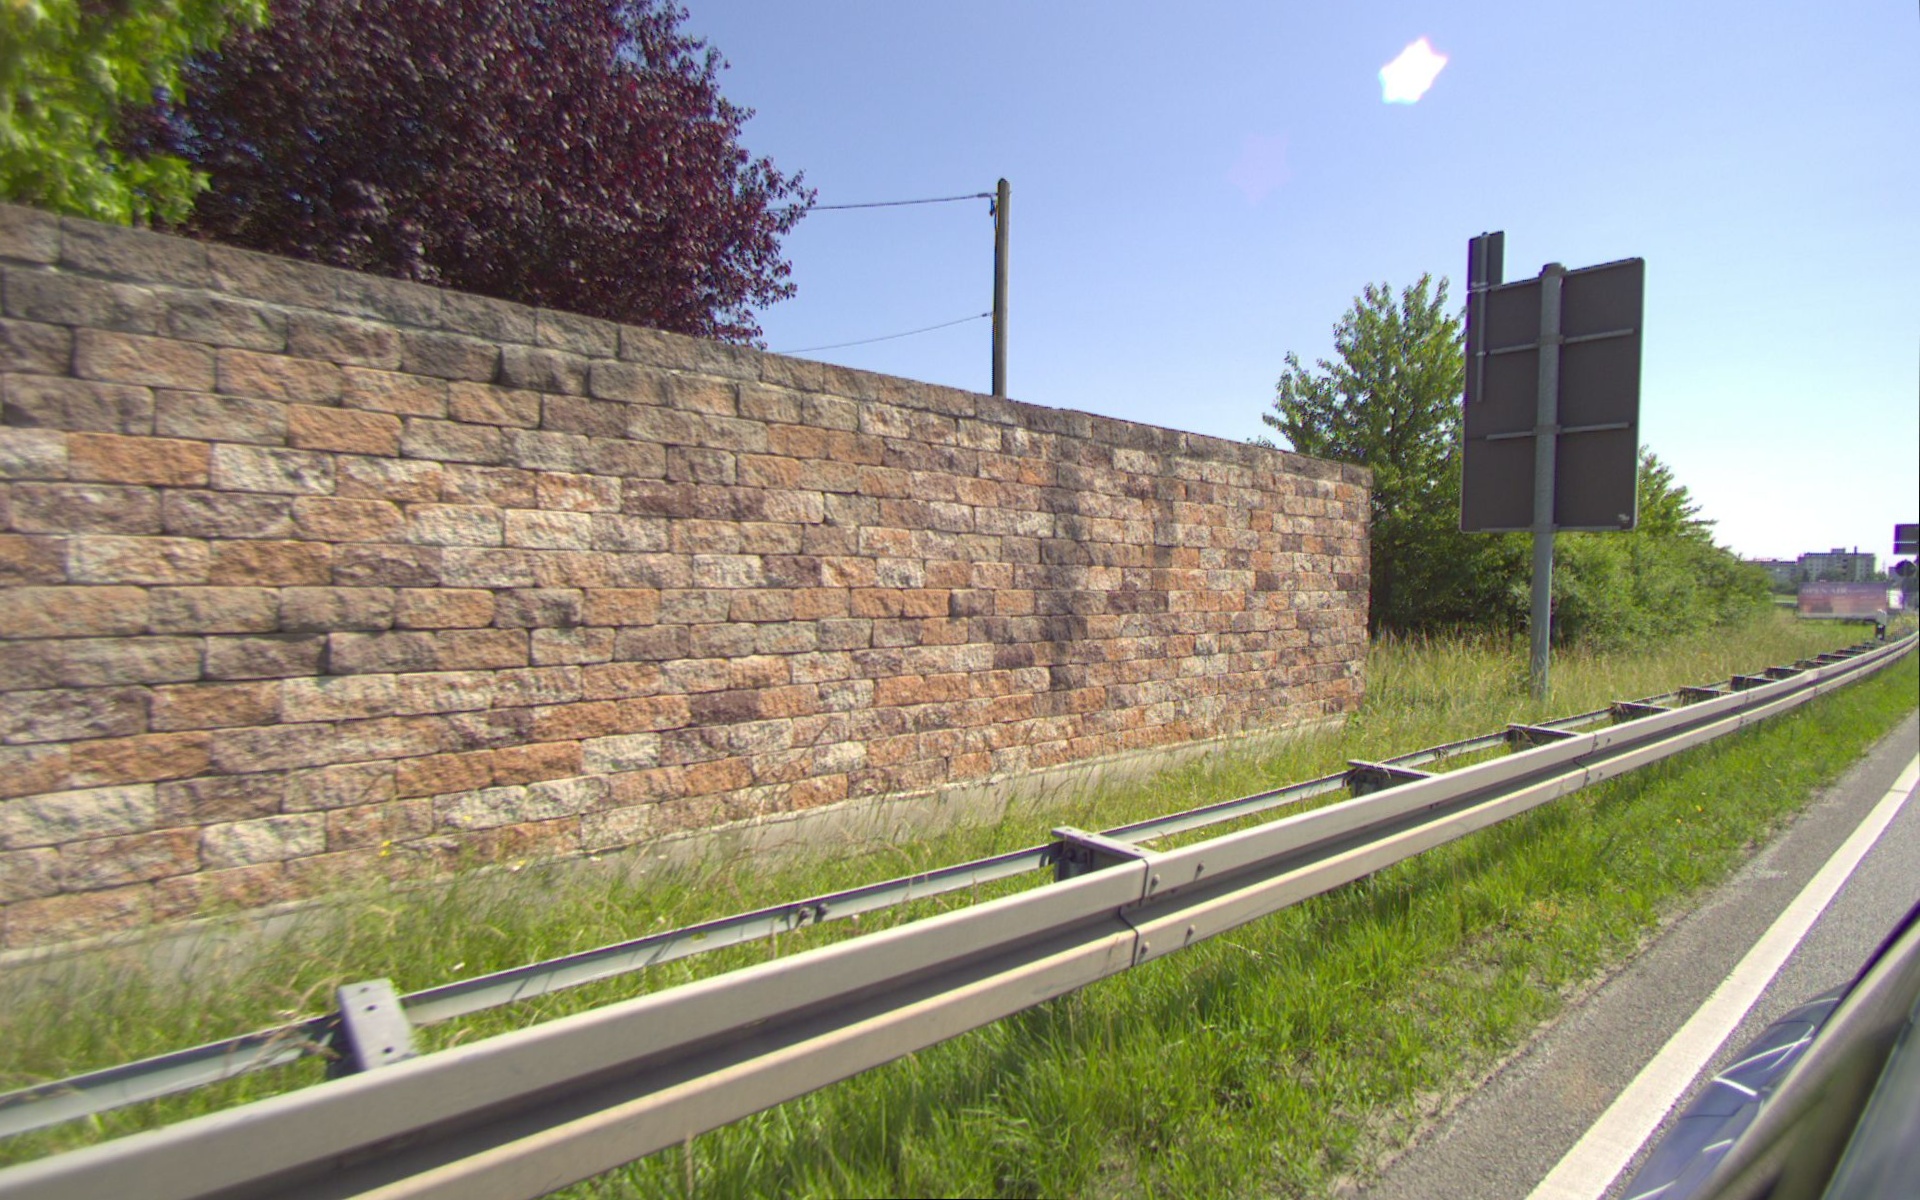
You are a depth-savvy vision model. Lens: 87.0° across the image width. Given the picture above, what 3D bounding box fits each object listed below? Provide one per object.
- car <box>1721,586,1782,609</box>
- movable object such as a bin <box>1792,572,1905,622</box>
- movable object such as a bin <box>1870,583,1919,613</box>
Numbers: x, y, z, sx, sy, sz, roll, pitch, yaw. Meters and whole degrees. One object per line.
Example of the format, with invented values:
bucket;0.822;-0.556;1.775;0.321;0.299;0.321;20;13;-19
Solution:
car;56.050;-0.169;71.705;3.333;1.518;1.380;2;2;41
movable object such as a bin;43.153;-0.171;49.227;4.093;2.360;1.258;1;1;43
movable object such as a bin;74.101;-0.180;80.045;4.333;2.392;1.529;0;1;-25
